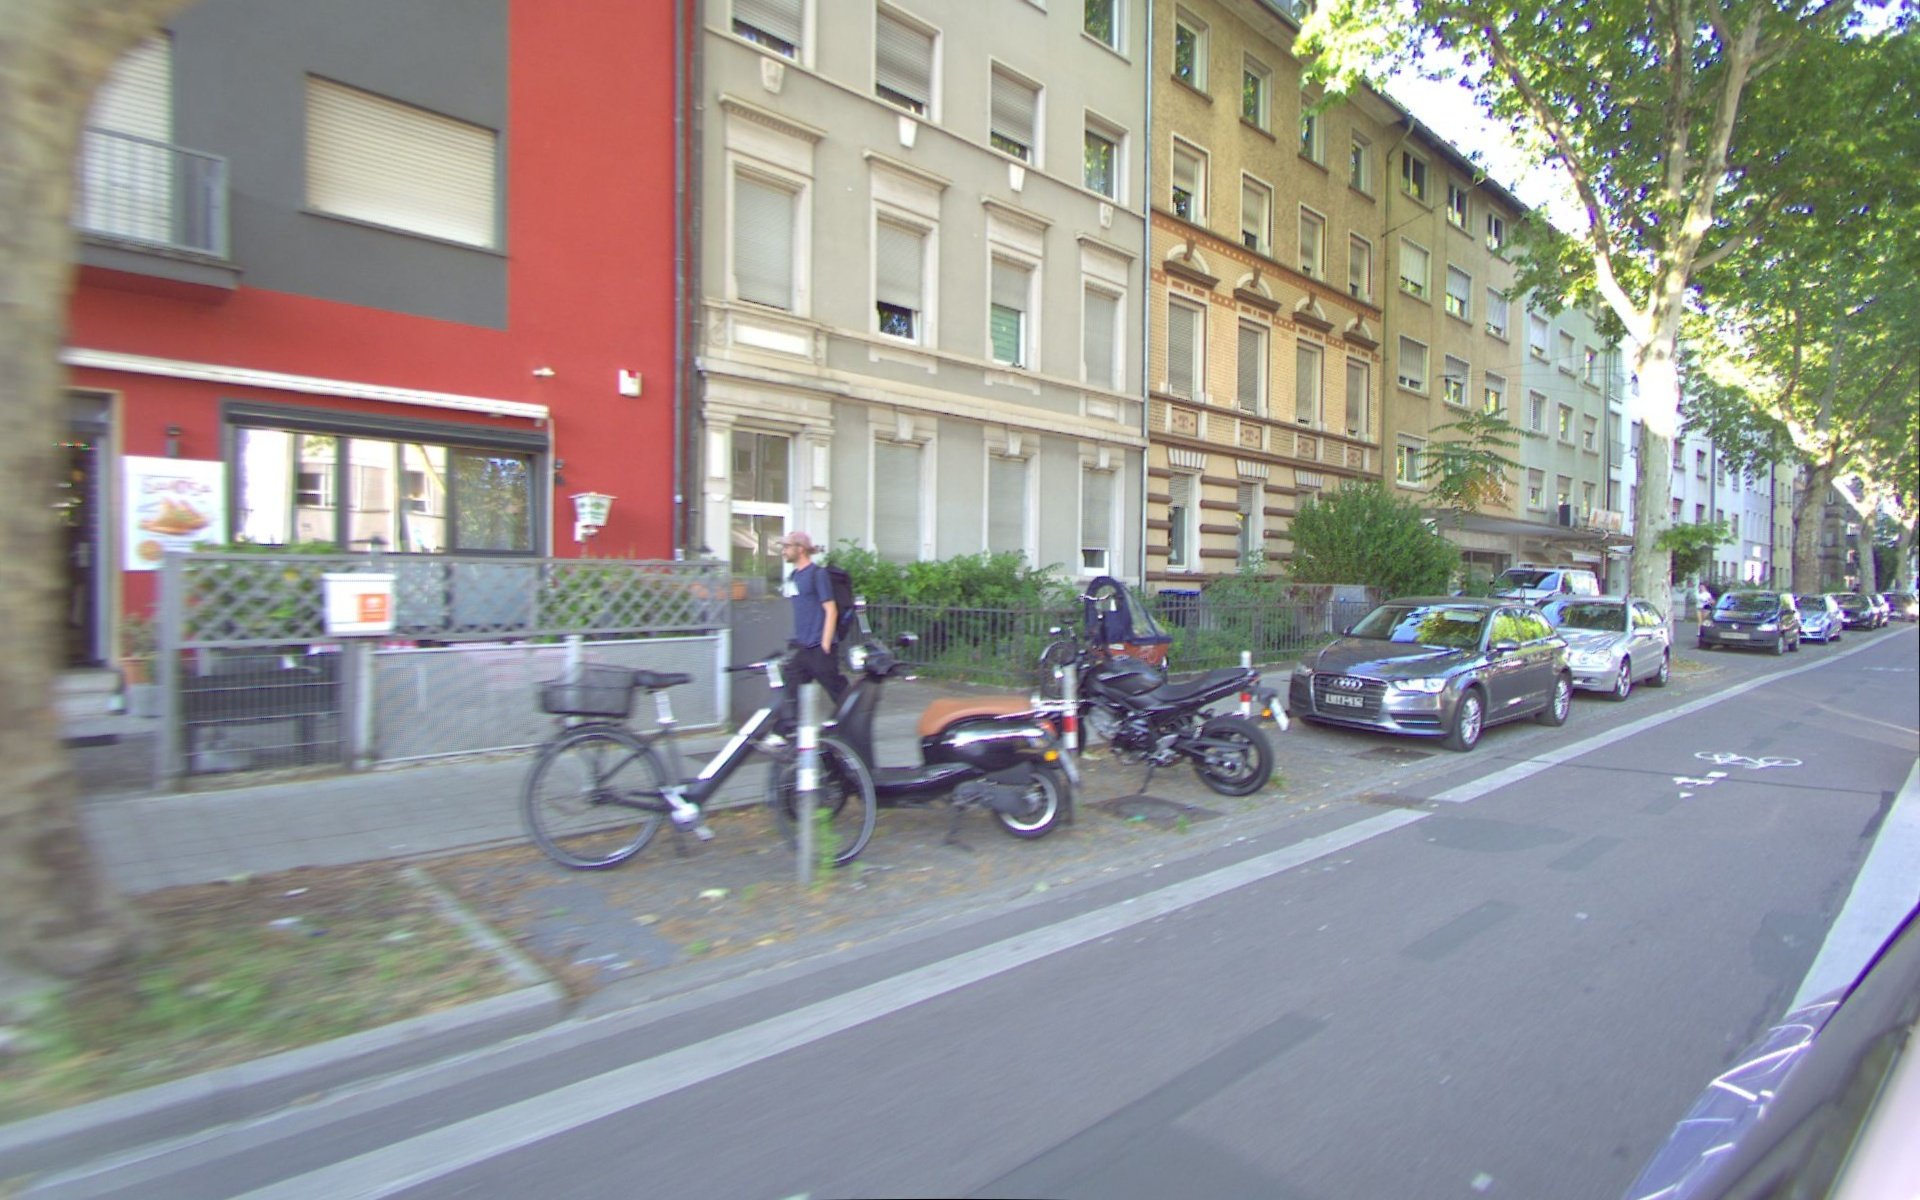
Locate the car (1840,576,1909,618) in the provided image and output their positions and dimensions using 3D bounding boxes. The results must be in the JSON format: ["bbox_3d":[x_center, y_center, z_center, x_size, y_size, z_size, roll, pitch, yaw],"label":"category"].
[{"bbox_3d":[38.900,-0.157,43.035,4.297,1.628,1.800,-1,4,-44],"label":"car"}]

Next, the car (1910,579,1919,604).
[{"bbox_3d":[64.601,-0.554,67.303,4.037,1.628,1.800,-1,4,-44],"label":"car"}]

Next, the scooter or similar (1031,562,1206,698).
[{"bbox_3d":[1.951,0.306,12.138,2.501,1.488,0.665,-1,1,-43],"label":"scooter or similar"}]

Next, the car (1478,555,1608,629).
[{"bbox_3d":[16.730,-0.269,28.938,4.600,1.897,1.931,-1,4,-44],"label":"car"}]

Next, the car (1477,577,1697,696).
[{"bbox_3d":[9.626,0.428,15.386,4.439,1.472,1.800,-1,4,-45],"label":"car"}]

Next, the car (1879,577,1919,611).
[{"bbox_3d":[50.012,-0.339,53.496,4.037,1.628,1.800,-1,4,-44],"label":"car"}]

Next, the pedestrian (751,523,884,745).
[{"bbox_3d":[-1.190,0.238,8.410,0.802,1.731,0.727,-1,4,-42],"label":"pedestrian"}]

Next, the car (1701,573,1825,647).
[{"bbox_3d":[20.188,0.178,25.392,4.297,1.628,1.800,-1,4,-44],"label":"car"}]

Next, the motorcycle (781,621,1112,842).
[{"bbox_3d":[-0.064,0.751,6.177,1.857,1.125,0.784,3,1,5],"label":"motorcycle"}]

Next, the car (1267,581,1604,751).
[{"bbox_3d":[5.340,0.547,11.089,4.296,1.418,1.801,-1,4,-42],"label":"car"}]

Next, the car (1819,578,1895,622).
[{"bbox_3d":[35.061,-0.042,39.515,4.297,1.520,1.800,-1,4,-44],"label":"car"}]

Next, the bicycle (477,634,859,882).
[{"bbox_3d":[-1.475,0.781,5.273,1.762,1.125,0.623,2,1,-15],"label":"bicycle"}]

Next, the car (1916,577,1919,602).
[{"bbox_3d":[69.185,-0.707,71.702,4.037,1.774,1.800,-1,4,-44],"label":"car"}]

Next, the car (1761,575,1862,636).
[{"bbox_3d":[25.717,0.117,30.521,4.297,1.628,1.800,-1,4,-44],"label":"car"}]

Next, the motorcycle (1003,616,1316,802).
[{"bbox_3d":[1.484,0.756,7.591,2.187,1.125,0.659,3,1,21],"label":"motorcycle"}]

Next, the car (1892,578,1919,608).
[{"bbox_3d":[55.515,-0.404,58.707,4.037,1.628,1.800,-1,4,-44],"label":"car"}]

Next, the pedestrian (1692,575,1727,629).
[{"bbox_3d":[22.621,0.051,30.543,0.690,1.600,0.727,-1,2,-42],"label":"pedestrian"}]
